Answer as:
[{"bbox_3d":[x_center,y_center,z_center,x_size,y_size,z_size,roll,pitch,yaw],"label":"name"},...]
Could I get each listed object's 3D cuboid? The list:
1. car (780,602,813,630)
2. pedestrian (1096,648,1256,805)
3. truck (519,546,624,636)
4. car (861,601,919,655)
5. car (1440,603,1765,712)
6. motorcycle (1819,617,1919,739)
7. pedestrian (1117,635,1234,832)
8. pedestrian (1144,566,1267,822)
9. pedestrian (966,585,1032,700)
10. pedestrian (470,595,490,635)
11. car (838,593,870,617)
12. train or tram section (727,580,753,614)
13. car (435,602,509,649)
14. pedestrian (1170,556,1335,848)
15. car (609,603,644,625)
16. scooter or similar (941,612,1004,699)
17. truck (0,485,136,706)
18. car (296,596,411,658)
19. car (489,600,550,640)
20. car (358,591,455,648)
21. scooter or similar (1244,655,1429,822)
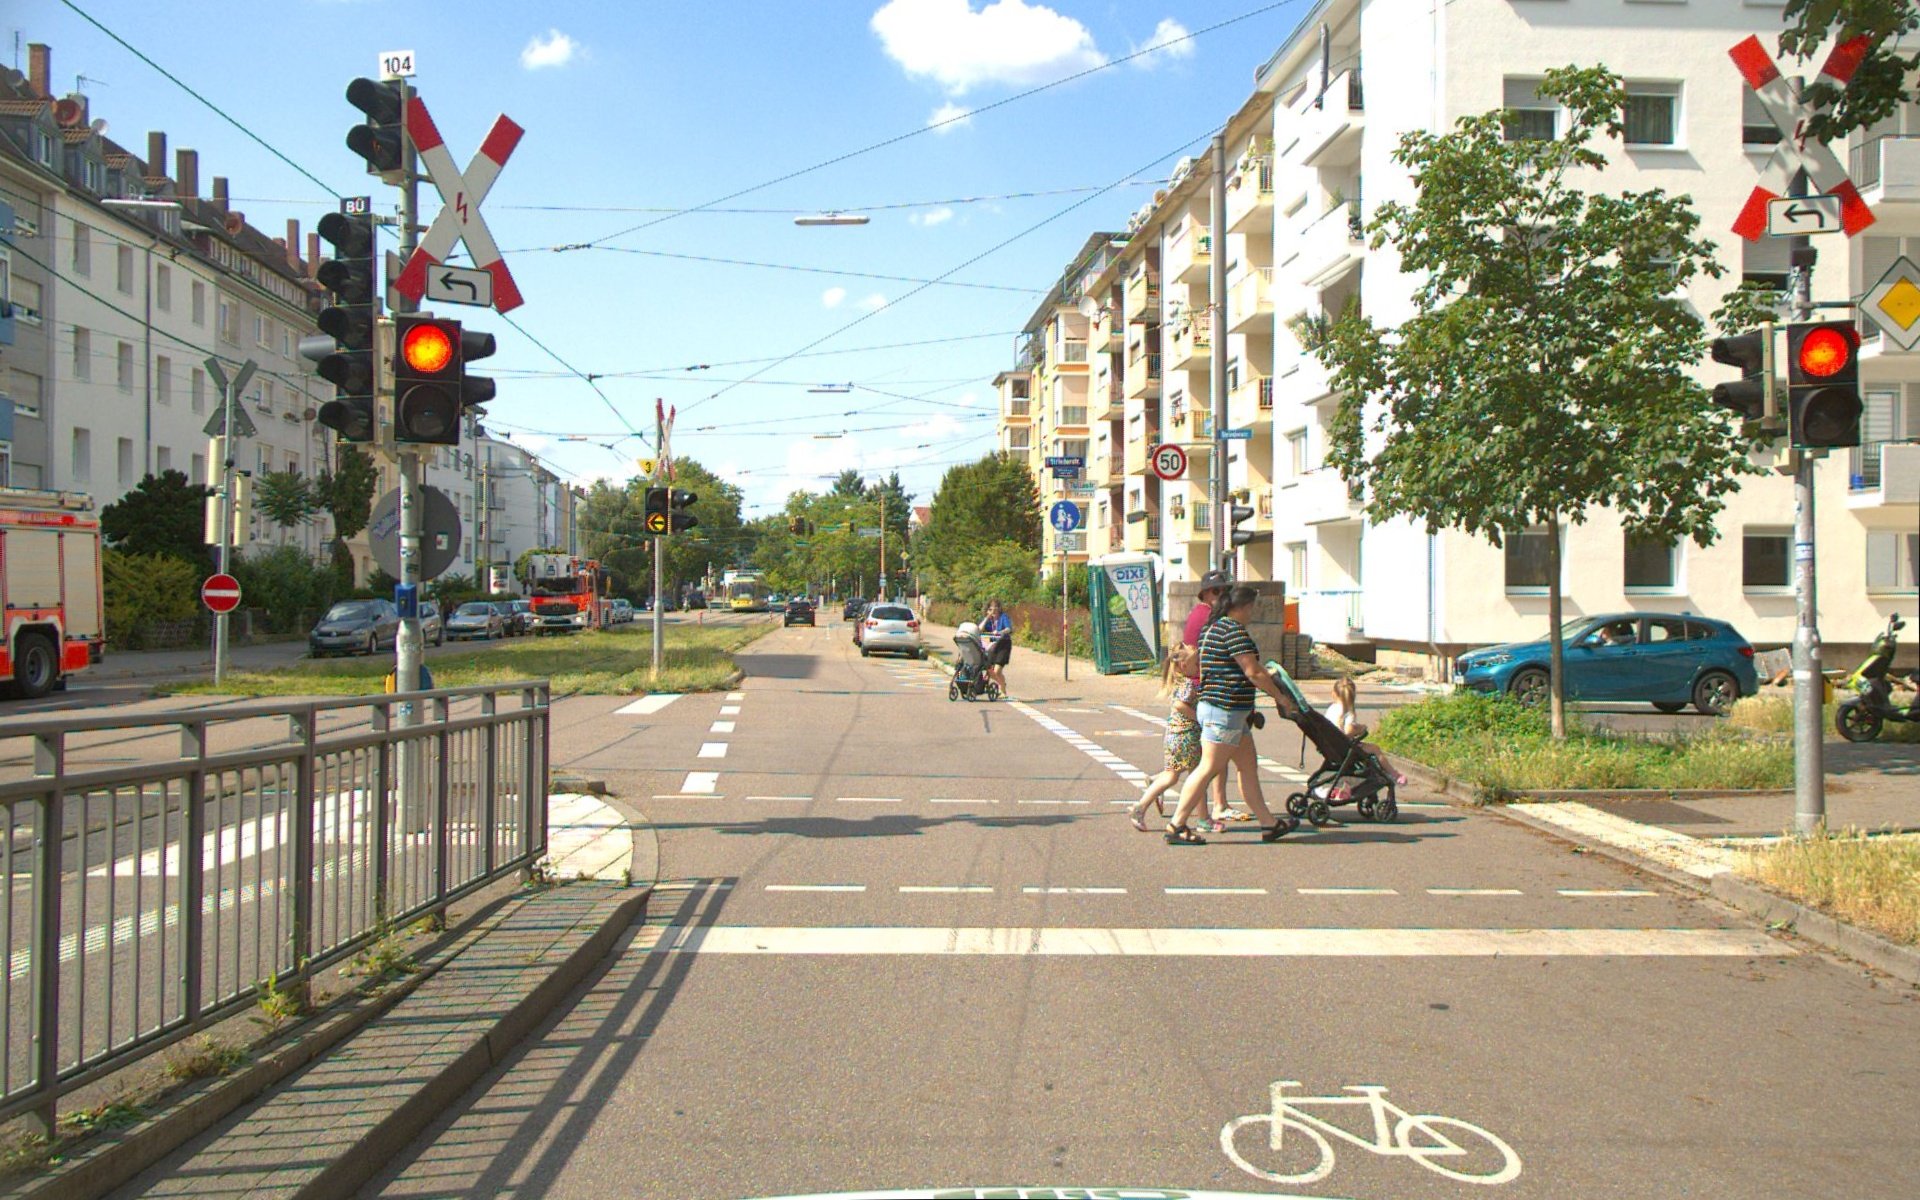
[{"bbox_3d":[-9.167,0.886,92.843,1.709,1.533,3.997,2,0,-4],"label":"car"},{"bbox_3d":[3.173,1.816,25.018,1.952,2.049,4.001,1,-1,1],"label":"pedestrian"},{"bbox_3d":[-16.597,-0.333,71.371,2.614,3.531,10.161,1,0,-3],"label":"truck"},{"bbox_3d":[-2.048,0.793,48.219,1.590,1.490,3.508,2,0,-3],"label":"car"},{"bbox_3d":[9.366,0.824,24.317,4.081,1.438,1.780,2,-1,-1],"label":"car"},{"bbox_3d":[10.222,0.822,17.607,0.565,1.236,1.826,-5,1,-32],"label":"motorcycle"},{"bbox_3d":[1.372,0.835,10.636,0.624,1.201,0.798,0,-1,-2],"label":"pedestrian"},{"bbox_3d":[1.665,0.626,11.297,0.691,1.677,0.636,2,-1,-1],"label":"pedestrian"},{"bbox_3d":[0.646,0.680,27.028,0.687,1.821,1.029,2,0,24],"label":"pedestrian"},{"bbox_3d":[-22.137,0.697,76.286,0.691,1.825,0.864,0,0,-3],"label":"pedestrian"},{"bbox_3d":[-7.079,0.353,110.923,1.707,1.533,4.001,1,0,2],"label":"car"},{"bbox_3d":[-20.889,-0.288,157.101,2.215,3.122,8.122,0,0,-6],"label":"train or tram section"},{"bbox_3d":[-18.886,0.965,64.164,1.955,1.741,3.995,2,0,-5],"label":"car"},{"bbox_3d":[1.759,0.597,10.066,0.828,1.697,0.798,0,-1,-2],"label":"pedestrian"},{"bbox_3d":[-21.862,0.928,108.519,1.810,1.391,3.996,2,0,-5],"label":"car"},{"bbox_3d":[0.205,0.867,26.186,0.649,1.326,0.867,2,0,27],"label":"scooter or similar"},{"bbox_3d":[-15.419,-0.104,23.762,2.542,3.241,8.385,1,0,3],"label":"truck"},{"bbox_3d":[-17.598,0.772,48.174,1.954,1.674,3.998,2,0,-3],"label":"car"},{"bbox_3d":[-19.937,0.893,75.010,1.954,1.741,3.996,2,0,-5],"label":"car"},{"bbox_3d":[-18.099,0.622,54.265,1.954,1.741,3.998,1,0,-3],"label":"car"},{"bbox_3d":[2.565,0.932,11.332,1.078,1.074,0.650,1,-1,-4],"label":"scooter or similar"}]
